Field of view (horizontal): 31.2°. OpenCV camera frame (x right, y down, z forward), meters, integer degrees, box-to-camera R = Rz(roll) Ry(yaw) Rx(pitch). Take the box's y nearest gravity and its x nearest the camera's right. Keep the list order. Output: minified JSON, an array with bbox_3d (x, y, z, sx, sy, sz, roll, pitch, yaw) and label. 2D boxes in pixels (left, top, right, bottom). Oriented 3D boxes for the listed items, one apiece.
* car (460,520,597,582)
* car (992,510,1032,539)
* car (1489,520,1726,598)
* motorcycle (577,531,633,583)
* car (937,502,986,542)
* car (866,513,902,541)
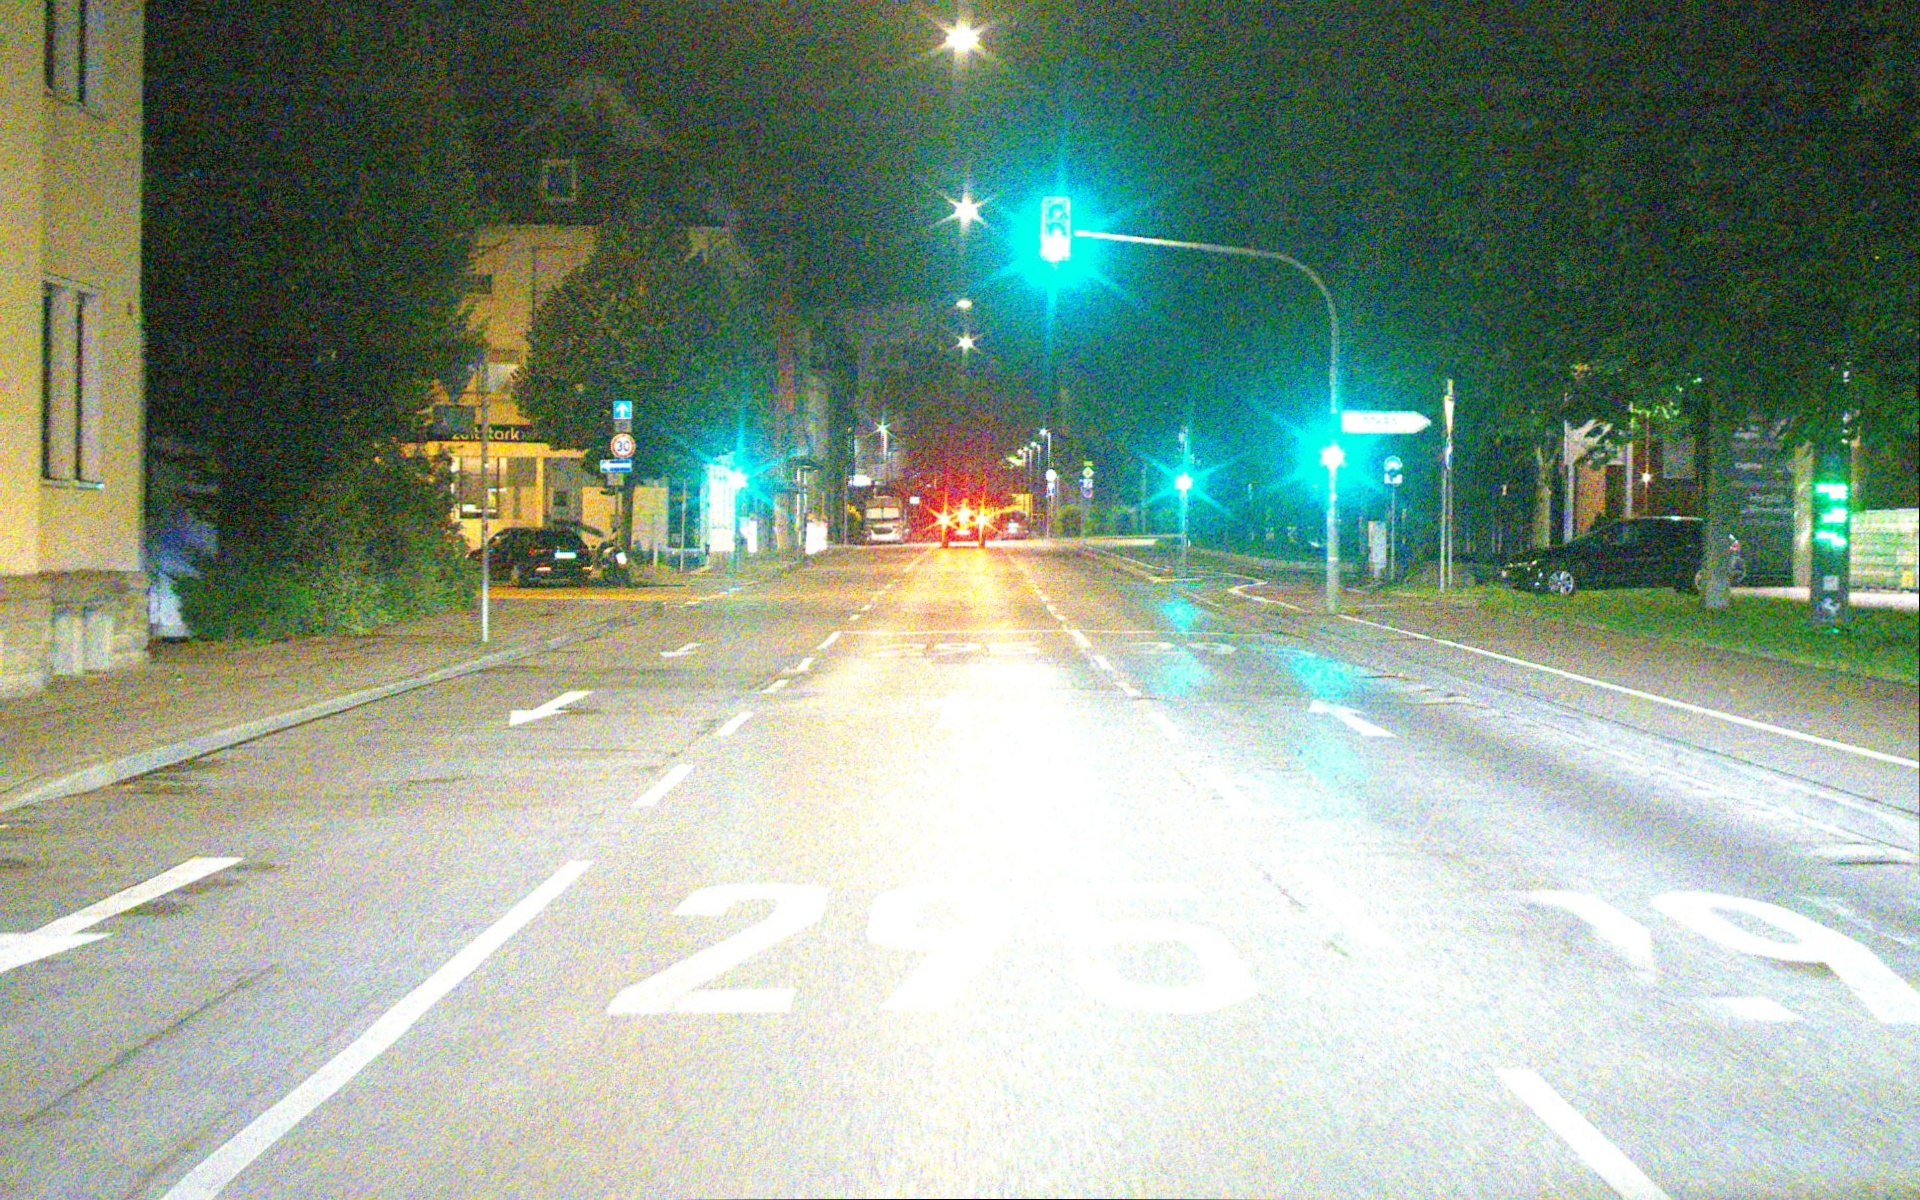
[{"bbox_3d":[-10.514,-1.207,83.564,1.803,1.481,4.000,-1,1,-31],"label":"car"},{"bbox_3d":[2.848,-4.144,189.204,1.993,1.590,4.001,0,1,-2],"label":"car"},{"bbox_3d":[11.618,-0.755,61.872,3.987,1.382,1.771,0,1,3],"label":"car"},{"bbox_3d":[-8.367,-1.019,80.904,0.781,1.200,2.450,0,1,-18],"label":"motorcycle"},{"bbox_3d":[0.042,-3.358,148.807,1.993,1.634,4.000,1,1,-2],"label":"car"},{"bbox_3d":[-3.889,-3.720,174.771,1.777,1.385,4.001,0,1,-2],"label":"car"}]
